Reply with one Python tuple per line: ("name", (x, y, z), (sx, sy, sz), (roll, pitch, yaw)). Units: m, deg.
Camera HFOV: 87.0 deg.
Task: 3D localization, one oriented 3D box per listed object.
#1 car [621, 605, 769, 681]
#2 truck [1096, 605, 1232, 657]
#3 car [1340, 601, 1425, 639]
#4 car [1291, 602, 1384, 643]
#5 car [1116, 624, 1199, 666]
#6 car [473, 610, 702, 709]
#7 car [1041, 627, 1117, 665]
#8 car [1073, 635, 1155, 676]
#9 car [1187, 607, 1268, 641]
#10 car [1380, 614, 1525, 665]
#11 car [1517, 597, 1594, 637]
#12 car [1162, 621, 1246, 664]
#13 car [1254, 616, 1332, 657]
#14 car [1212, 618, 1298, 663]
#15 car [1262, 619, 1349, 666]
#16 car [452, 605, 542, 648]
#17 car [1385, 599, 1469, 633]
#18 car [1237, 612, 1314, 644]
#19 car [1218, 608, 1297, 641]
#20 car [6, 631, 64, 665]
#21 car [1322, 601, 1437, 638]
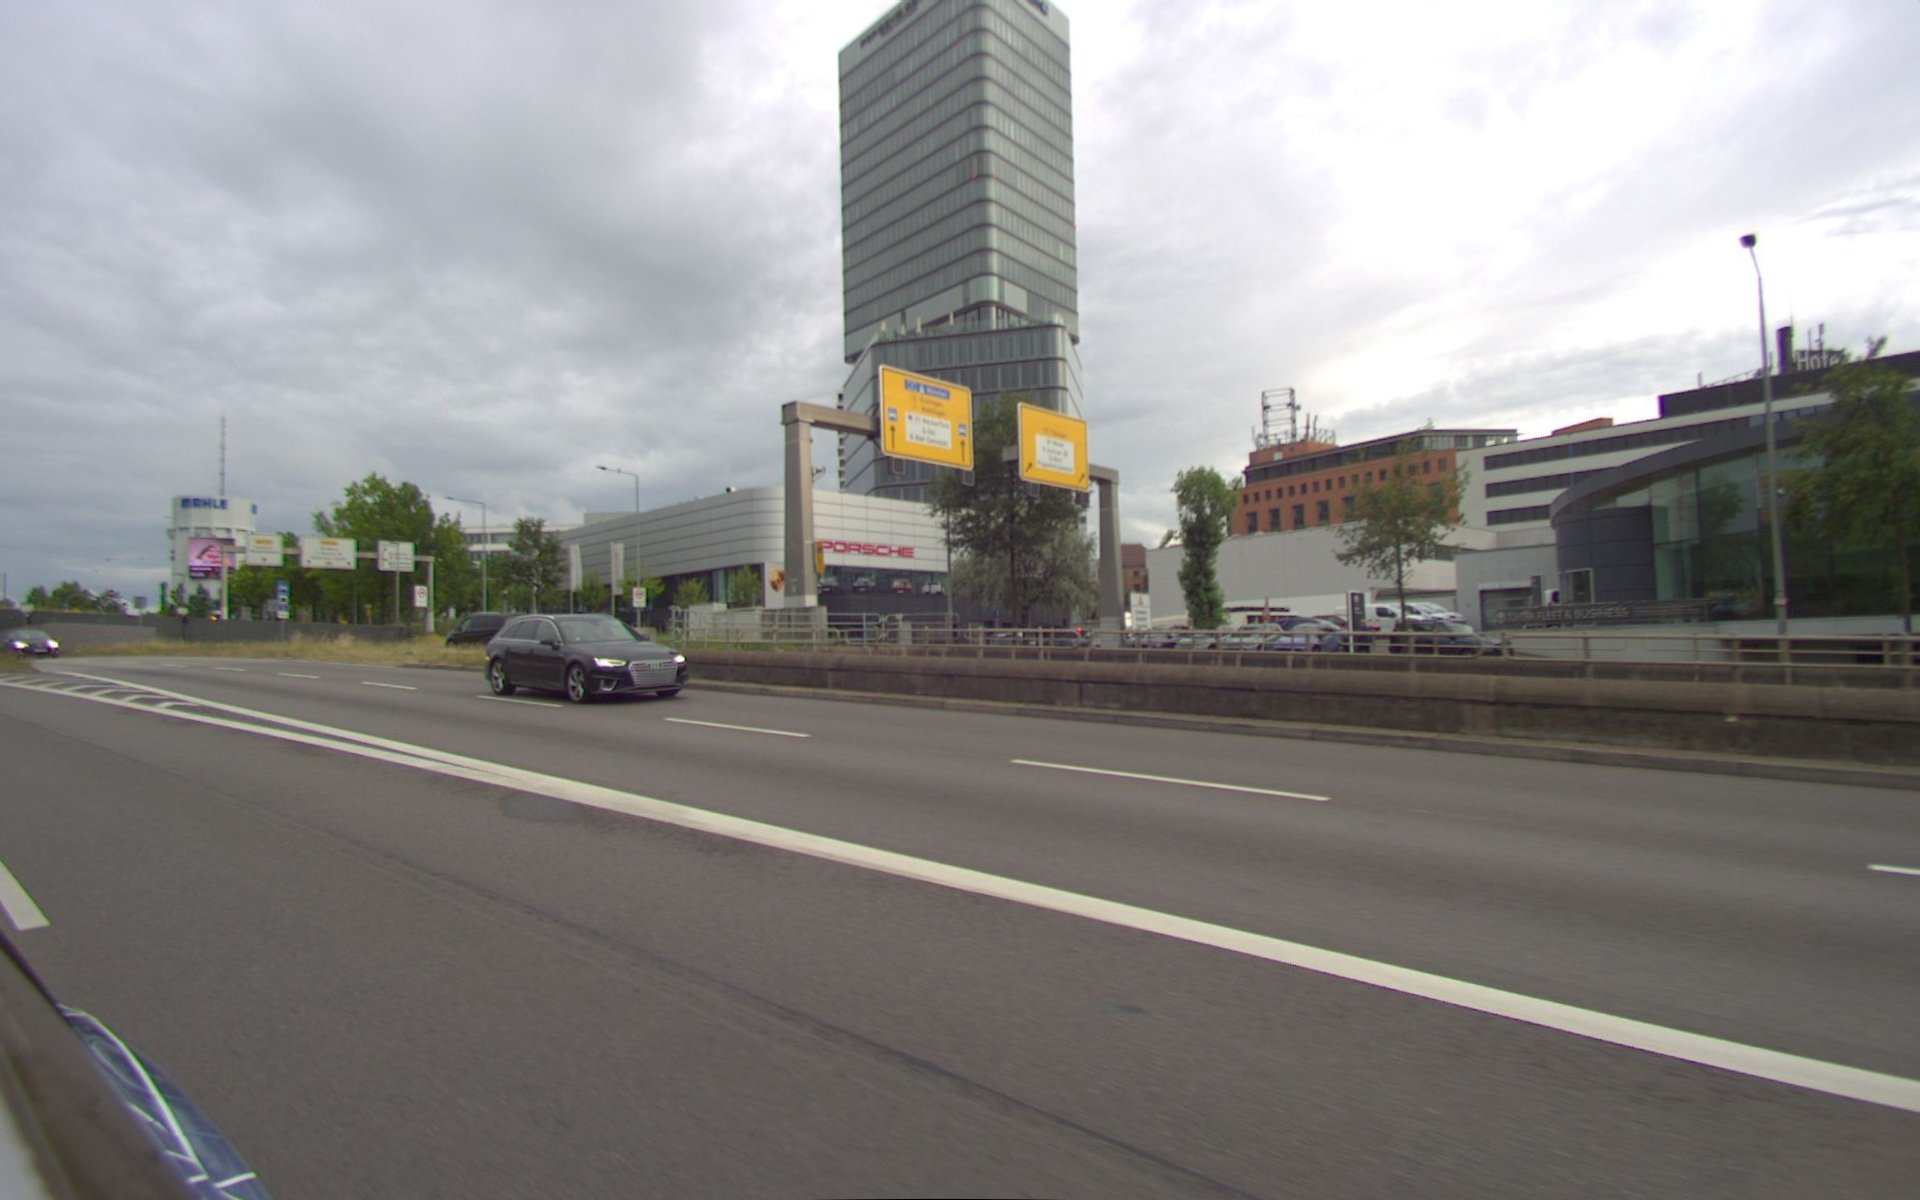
("car", (-6.382, 1.044, 24.220), (3.546, 1.602, 1.670), (-5, -2, 40))
("truck", (11.475, 1.805, 57.610), (7.413, 2.547, 2.339), (-5, -3, 44))
("car", (24.406, 1.166, 58.580), (1.969, 1.896, 4.005), (-2, -2, -42))
("car", (19.464, 1.184, 52.336), (1.879, 1.896, 4.005), (-2, -2, -42))
("car", (9.228, 2.060, 47.171), (1.923, 1.696, 3.944), (-5, -2, 43))
("car", (-6.507, 0.933, 17.374), (4.631, 1.430, 1.790), (-1, 0, 43))
("car", (5.940, 2.278, 50.245), (1.699, 1.612, 3.957), (-5, -2, 43))
("car", (7.446, 2.649, 48.675), (1.923, 1.696, 3.944), (-5, -2, 43))
("car", (15.365, 1.408, 58.241), (1.894, 1.696, 4.004), (-2, -2, -42))
("car", (18.393, 1.522, 38.001), (1.890, 1.696, 4.515), (-2, -2, -29))
("car", (28.123, 0.801, 47.949), (1.903, 1.796, 3.984), (-1, -1, 12))
("car", (11.014, 1.894, 45.541), (1.923, 1.696, 3.944), (-5, -2, 43))
("car", (15.605, 1.683, 47.291), (1.923, 1.696, 3.944), (-5, -2, 43))
("car", (12.845, 1.737, 43.963), (1.923, 1.696, 3.944), (-5, -2, 43))
("car", (14.446, 1.739, 42.231), (1.923, 1.696, 3.944), (-5, -2, 43))
("car", (-21.260, 1.199, 46.419), (4.624, 1.843, 1.793), (-1, 0, 38))
("car", (27.302, 0.946, 59.240), (1.894, 1.696, 4.004), (-2, -2, -42))
("car", (19.146, 1.685, 61.496), (1.894, 1.696, 4.004), (-2, -2, -42))
("car", (17.607, 1.448, 60.002), (1.894, 1.696, 4.004), (-2, -2, -42))
("car", (-47.464, 2.421, 51.929), (3.999, 1.644, 1.847), (-1, -1, 42))
("car", (23.264, 1.092, 56.316), (1.969, 1.896, 5.542), (-2, -1, -42))
